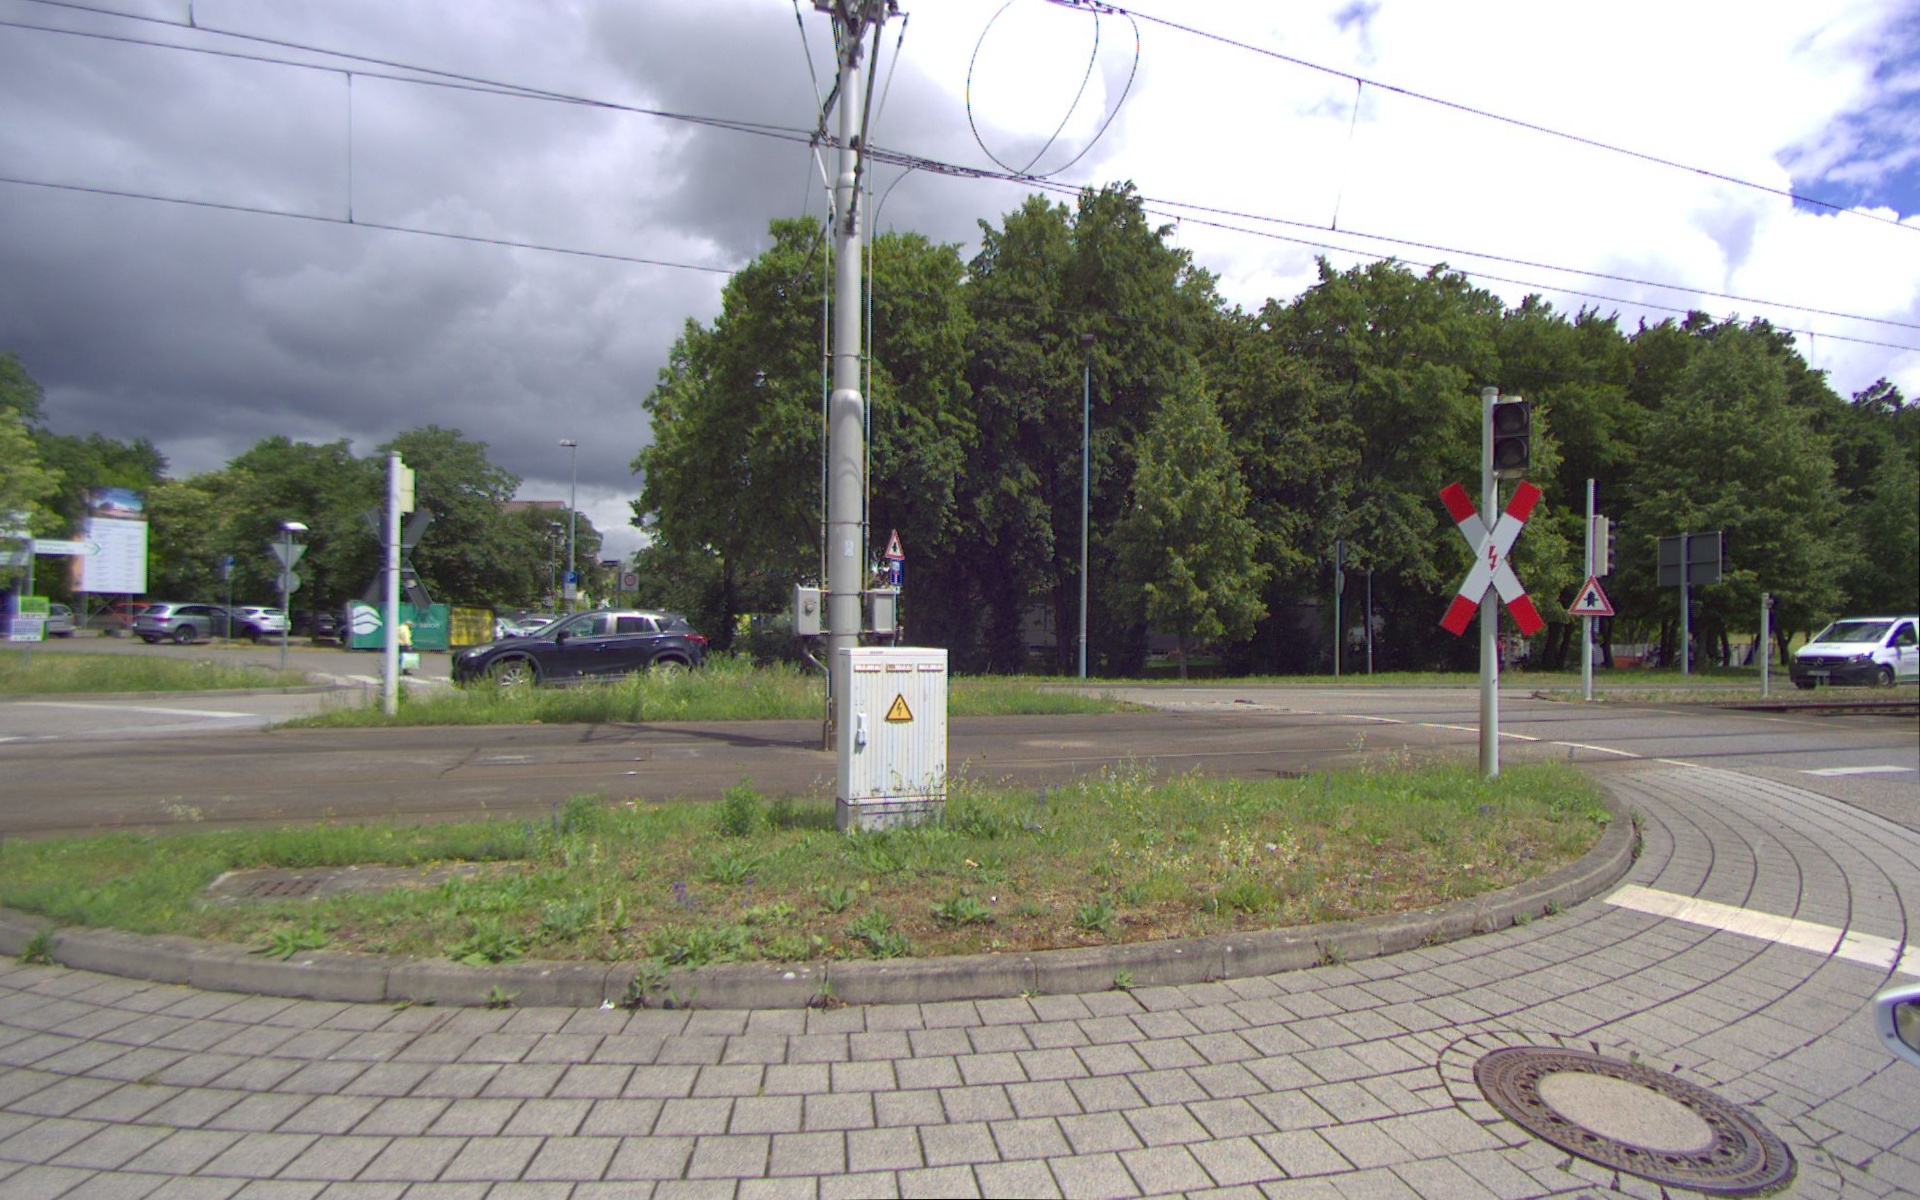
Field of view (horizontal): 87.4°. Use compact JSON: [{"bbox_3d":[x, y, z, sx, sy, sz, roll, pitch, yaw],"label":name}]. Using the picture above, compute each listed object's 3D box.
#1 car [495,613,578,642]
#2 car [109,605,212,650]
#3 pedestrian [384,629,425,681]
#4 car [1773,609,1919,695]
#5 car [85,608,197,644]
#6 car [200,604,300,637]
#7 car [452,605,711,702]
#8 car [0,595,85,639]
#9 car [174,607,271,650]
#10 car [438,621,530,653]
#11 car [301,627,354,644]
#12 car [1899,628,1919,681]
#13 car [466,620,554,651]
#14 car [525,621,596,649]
[{"bbox_3d":[-23.574,1.499,56.006,3.919,1.439,1.759,2,0,12],"label":"car"},{"bbox_3d":[-32.504,1.105,40.829,3.519,1.611,1.998,3,-1,28],"label":"car"},{"bbox_3d":[-16.387,1.598,29.617,0.883,1.477,0.747,2,0,38],"label":"pedestrian"},{"bbox_3d":[23.911,1.358,26.026,5.151,2.045,1.874,2,0,-17],"label":"car"},{"bbox_3d":[-37.880,1.214,46.520,3.513,1.610,2.001,0,-2,2],"label":"car"},{"bbox_3d":[-36.526,1.070,51.726,3.919,1.612,2.002,0,-2,8],"label":"car"},{"bbox_3d":[-6.951,0.972,18.514,4.270,1.606,1.847,2,-2,-28],"label":"car"},{"bbox_3d":[-38.254,0.683,41.111,3.921,1.706,2.000,0,-1,20],"label":"car"},{"bbox_3d":[-31.861,1.240,43.375,3.519,1.611,1.998,3,-1,28],"label":"car"},{"bbox_3d":[-24.236,1.854,51.146,3.919,1.439,1.759,2,0,12],"label":"car"},{"bbox_3d":[-34.223,1.933,54.411,1.104,0.880,2.249,0,-3,16],"label":"car"},{"bbox_3d":[32.084,1.793,31.824,4.307,1.626,1.578,2,0,-20],"label":"car"},{"bbox_3d":[-23.810,1.868,53.184,3.919,1.439,1.759,2,0,12],"label":"car"},{"bbox_3d":[-22.984,2.021,57.859,3.518,1.439,1.486,2,0,9],"label":"car"}]
